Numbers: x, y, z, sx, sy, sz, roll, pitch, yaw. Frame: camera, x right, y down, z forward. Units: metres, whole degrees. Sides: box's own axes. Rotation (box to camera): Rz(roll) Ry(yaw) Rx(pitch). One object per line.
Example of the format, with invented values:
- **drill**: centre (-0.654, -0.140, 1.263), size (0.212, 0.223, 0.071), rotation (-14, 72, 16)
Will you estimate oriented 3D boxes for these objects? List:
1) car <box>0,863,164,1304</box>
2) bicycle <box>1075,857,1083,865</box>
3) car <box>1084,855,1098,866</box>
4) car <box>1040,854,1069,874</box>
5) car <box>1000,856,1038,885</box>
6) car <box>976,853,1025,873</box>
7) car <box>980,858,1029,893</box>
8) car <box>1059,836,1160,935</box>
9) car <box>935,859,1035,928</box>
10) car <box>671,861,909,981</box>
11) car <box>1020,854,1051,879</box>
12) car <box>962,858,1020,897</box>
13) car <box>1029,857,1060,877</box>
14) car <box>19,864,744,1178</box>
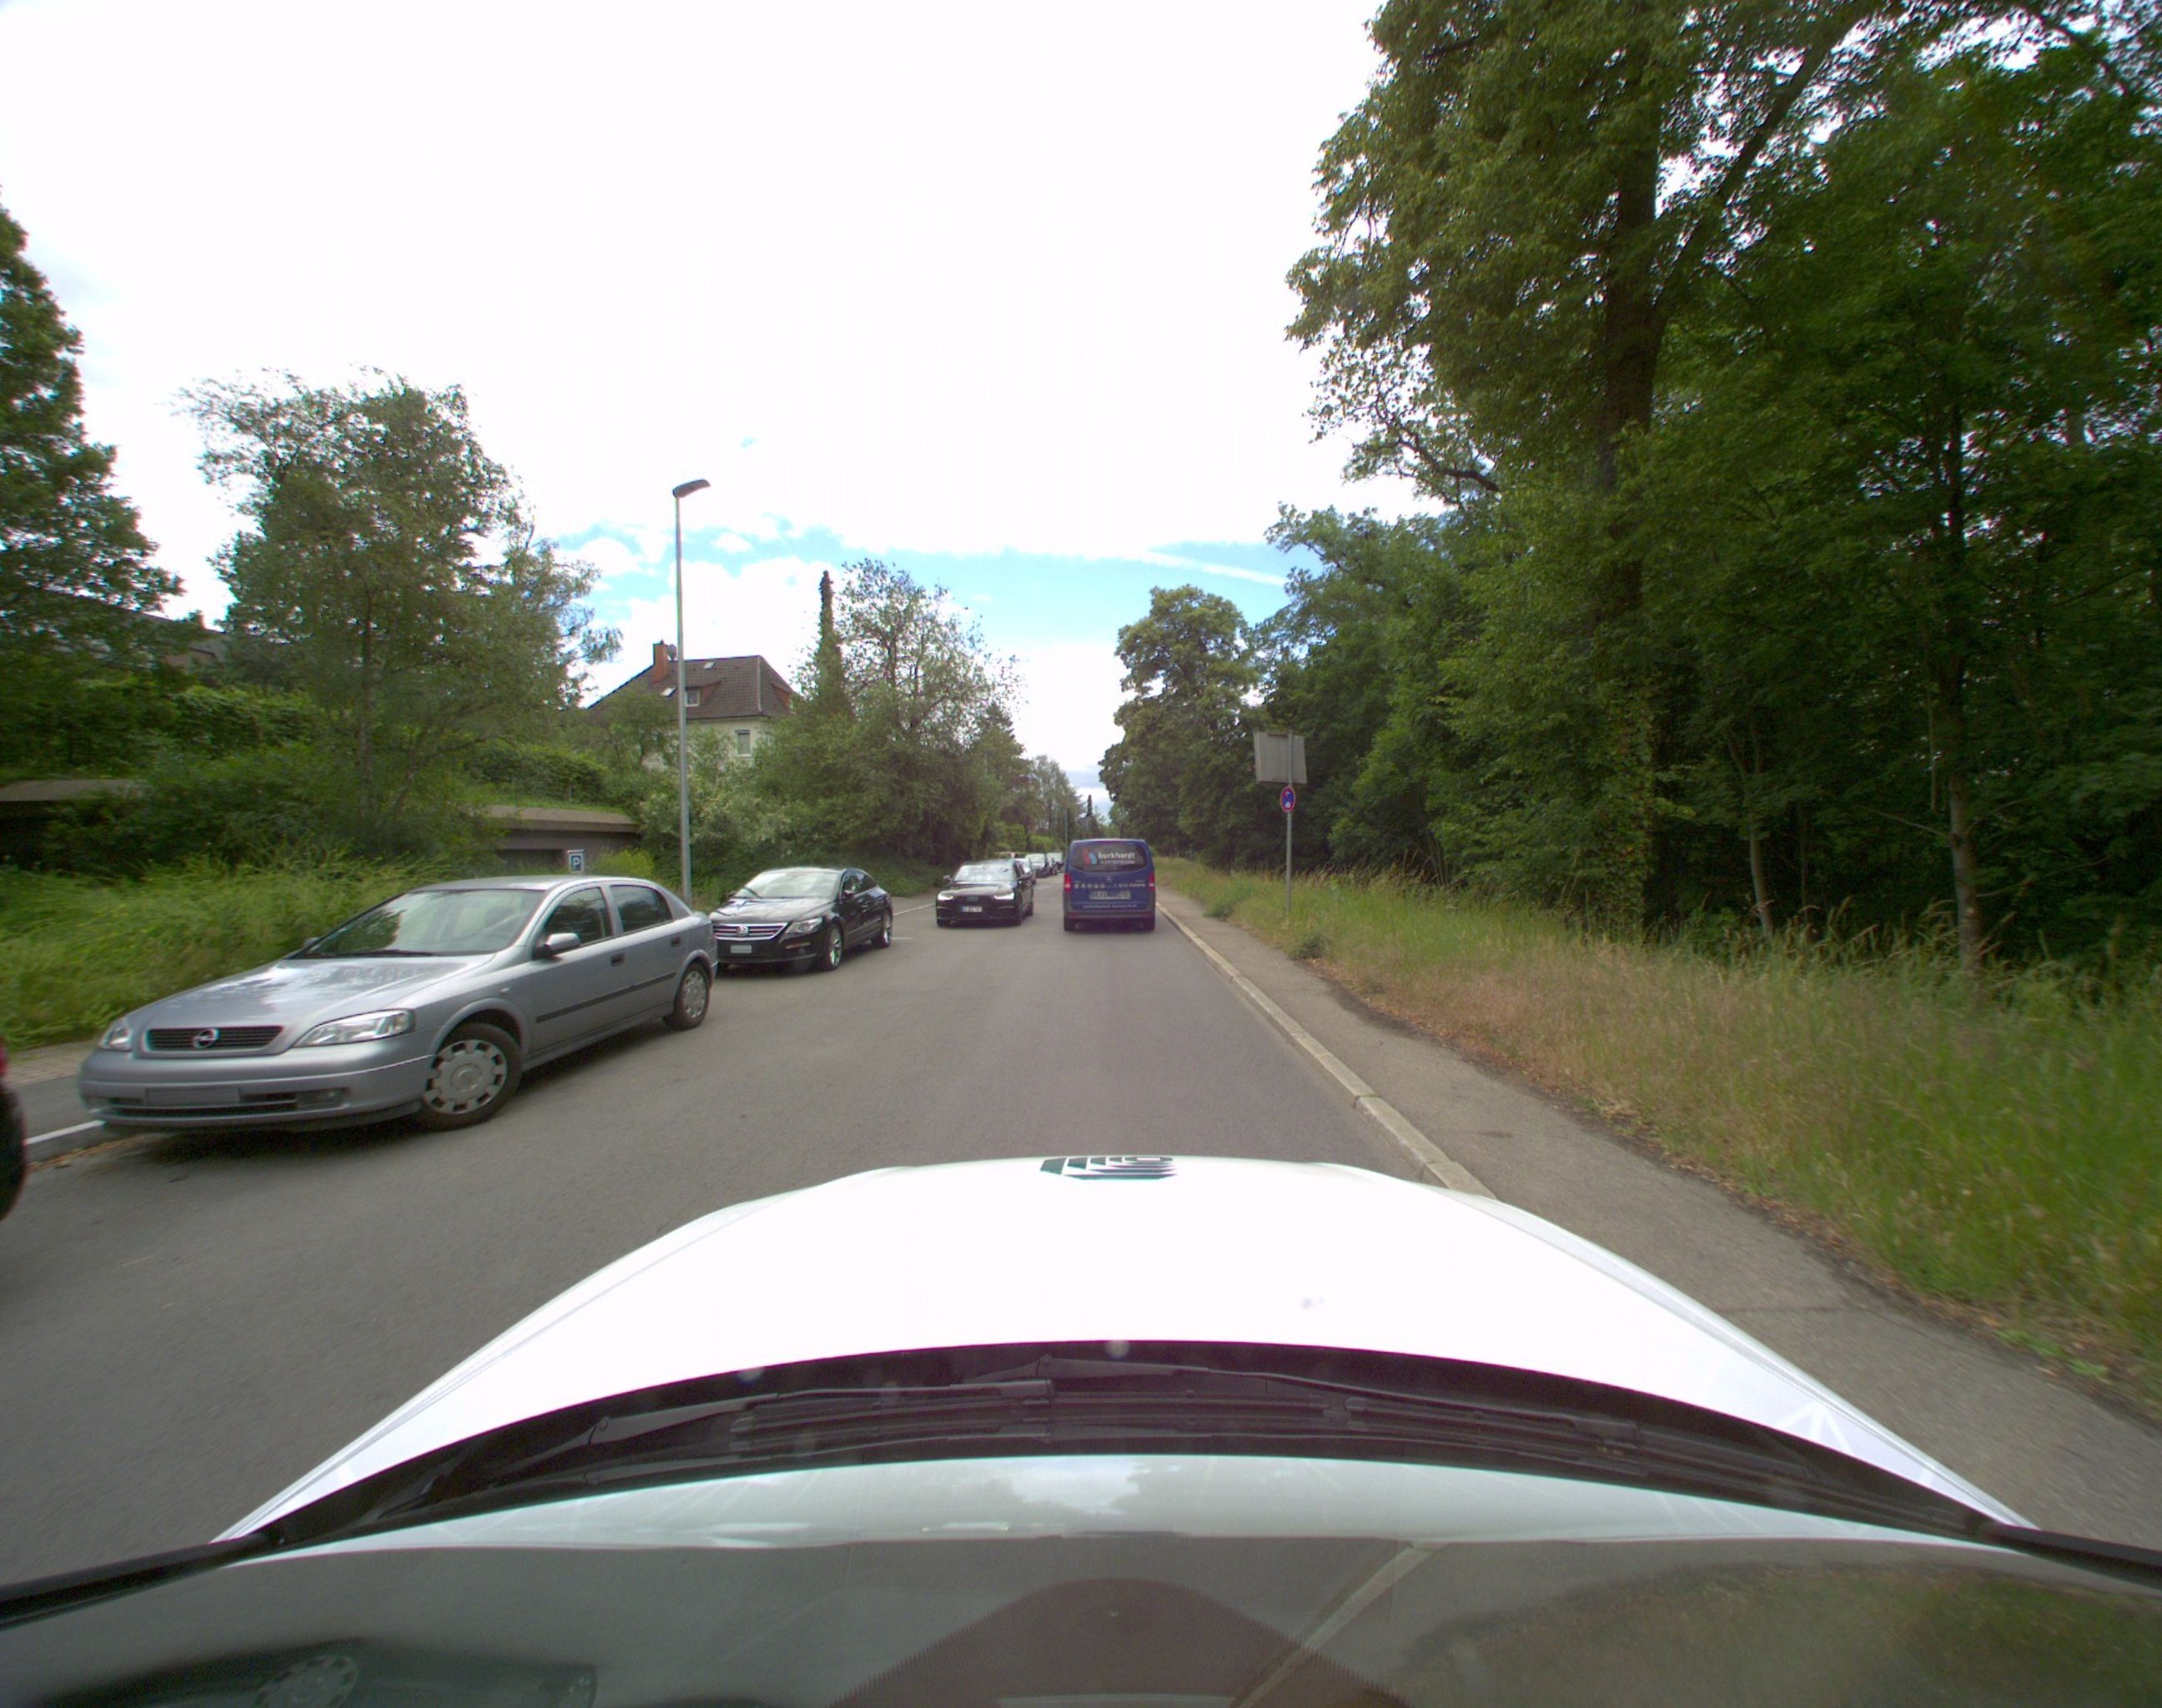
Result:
- **car**: centre (-4.524, 0.796, 1.240), size (1.618, 1.482, 4.002), rotation (-2, 0, 2)
- **bicycle**: centre (-0.309, 1.020, 120.118), size (0.901, 1.252, 2.920), rotation (2, 0, 5)
- **car**: centre (1.517, 1.022, 122.933), size (1.827, 1.631, 4.306), rotation (1, 0, 5)
- **car**: centre (-2.273, 0.844, 71.740), size (1.965, 1.737, 5.196), rotation (0, 0, 5)
- **car**: centre (-3.249, 0.840, 43.364), size (1.617, 1.450, 4.094), rotation (0, 0, 1)
- **car**: centre (-6.797, 0.757, 68.979), size (3.665, 1.637, 1.835), rotation (0, 0, 15)
- **car**: centre (-3.463, 0.965, 37.561), size (1.653, 1.452, 4.384), rotation (-1, 0, 3)
- **car**: centre (0.535, 0.558, 17.664), size (1.883, 1.844, 3.999), rotation (-2, 1, -1)
- **car**: centre (-2.139, 0.847, 19.359), size (1.774, 1.426, 4.490), rotation (-1, 0, 1)
- **car**: centre (-4.137, 0.849, 12.621), size (1.772, 1.432, 5.105), rotation (-1, 0, 1)
- **car**: centre (-3.038, 0.833, 55.572), size (1.725, 1.632, 4.570), rotation (0, 0, 1)
- **car**: centre (-3.556, 0.893, 32.841), size (1.616, 1.450, 3.973), rotation (-1, 0, 4)
- **car**: centre (-2.674, 0.976, 61.016), size (1.746, 1.412, 4.904), rotation (0, 0, 5)
- **car**: centre (-4.299, 0.838, 6.131), size (1.618, 1.432, 4.351), rotation (-2, 0, 1)
